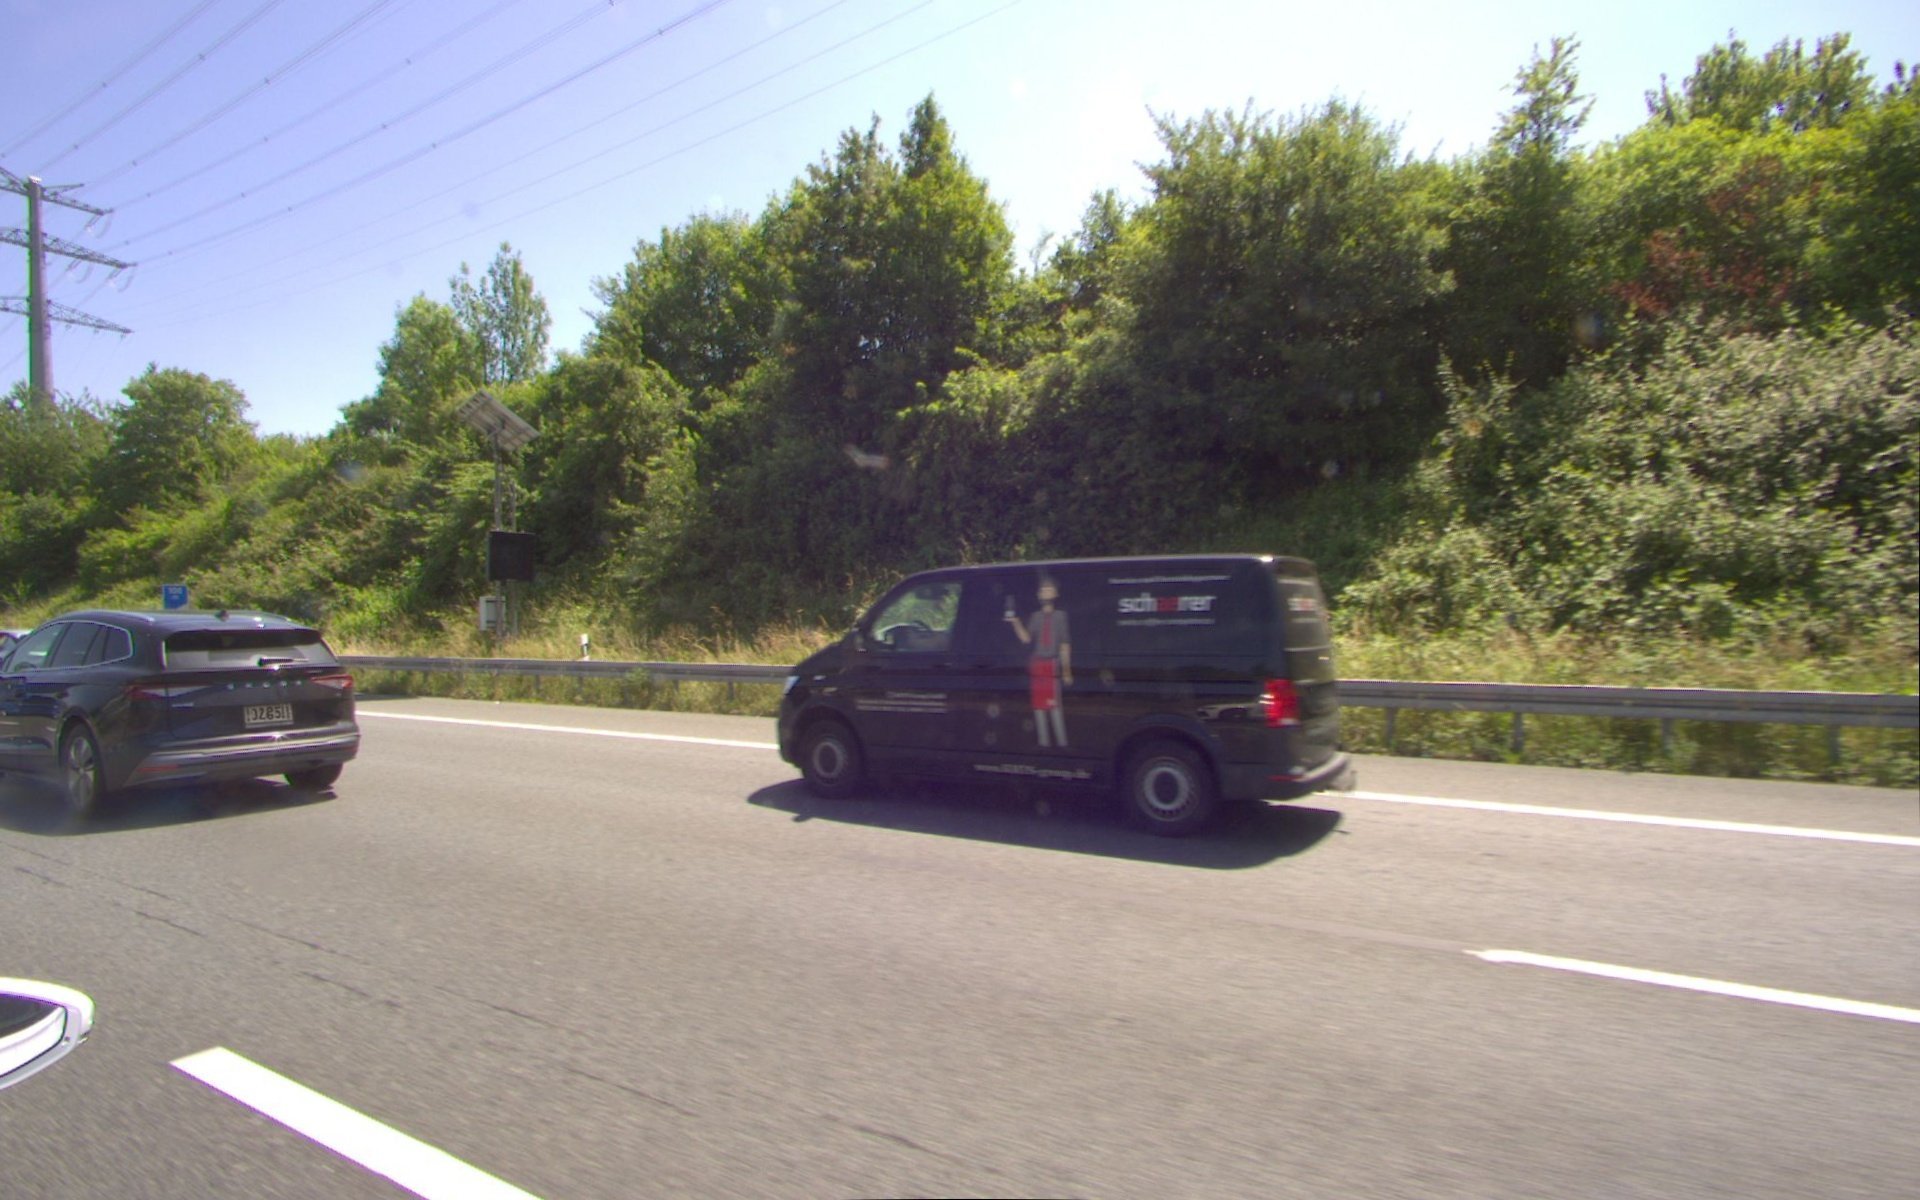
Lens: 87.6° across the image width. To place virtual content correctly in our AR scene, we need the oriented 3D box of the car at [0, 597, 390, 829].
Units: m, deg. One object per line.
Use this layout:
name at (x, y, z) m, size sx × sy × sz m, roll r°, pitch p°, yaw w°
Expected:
car at (-7.257, 0.853, 8.999) m, size 4.366 × 1.635 × 1.825 m, roll -1°, pitch -1°, yaw 31°

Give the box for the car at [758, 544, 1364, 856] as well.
car at (0.694, 0.677, 8.182) m, size 4.629 × 1.928 × 1.782 m, roll -1°, pitch -2°, yaw 31°

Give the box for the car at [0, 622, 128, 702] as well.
car at (-18.919, 1.206, 20.491) m, size 3.956 × 1.489 × 1.738 m, roll -1°, pitch -1°, yaw 32°
